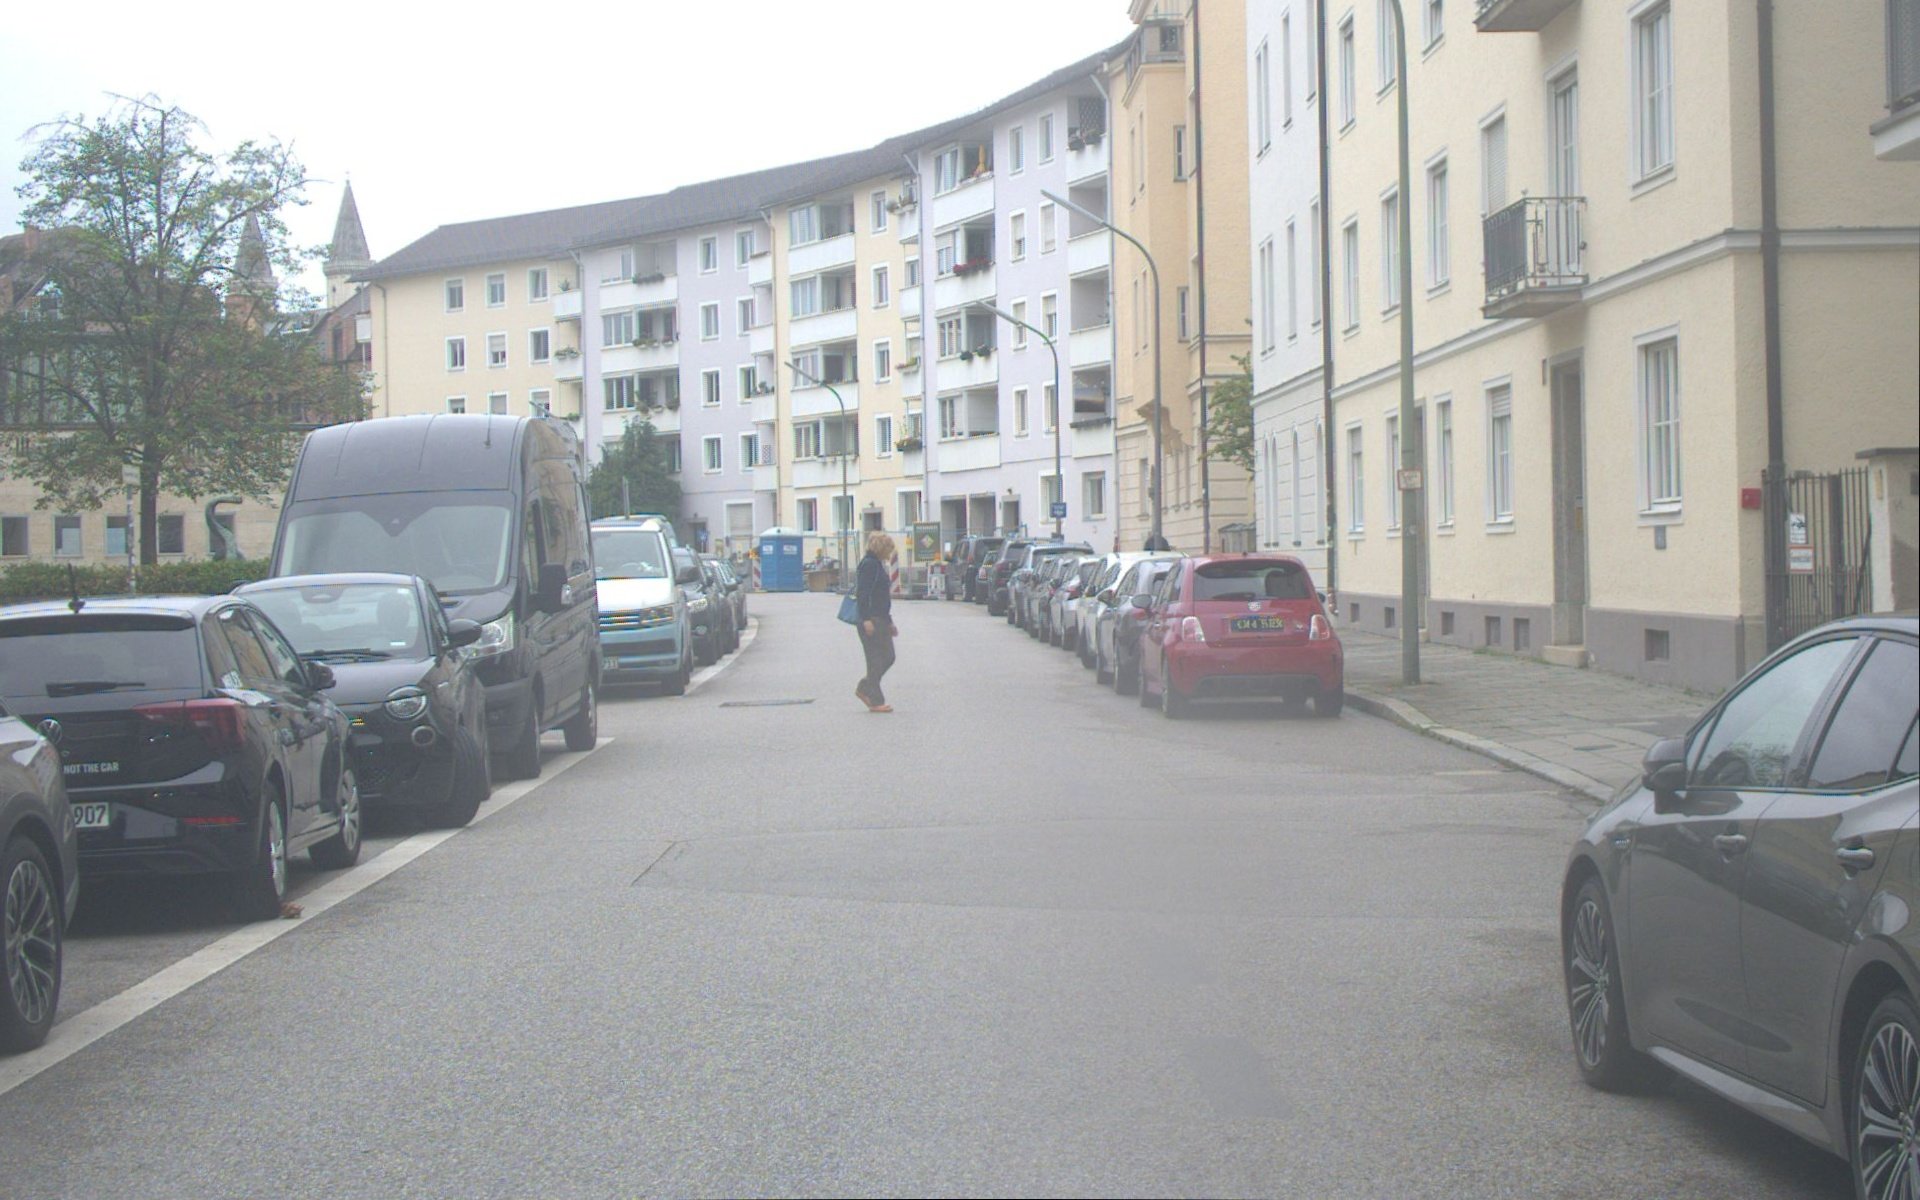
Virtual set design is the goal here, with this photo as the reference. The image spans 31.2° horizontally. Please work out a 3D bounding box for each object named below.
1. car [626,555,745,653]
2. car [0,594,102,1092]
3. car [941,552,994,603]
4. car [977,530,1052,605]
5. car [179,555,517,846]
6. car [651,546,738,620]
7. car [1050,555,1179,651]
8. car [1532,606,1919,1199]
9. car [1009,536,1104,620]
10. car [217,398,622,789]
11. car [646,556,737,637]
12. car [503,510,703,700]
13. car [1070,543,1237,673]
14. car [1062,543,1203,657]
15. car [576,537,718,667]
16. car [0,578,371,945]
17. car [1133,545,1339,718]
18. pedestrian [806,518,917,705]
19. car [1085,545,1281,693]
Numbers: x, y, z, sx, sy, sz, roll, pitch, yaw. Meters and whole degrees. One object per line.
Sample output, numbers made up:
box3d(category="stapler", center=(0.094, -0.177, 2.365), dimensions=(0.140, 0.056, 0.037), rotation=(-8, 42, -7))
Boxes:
box3d(category="car", center=(-4.341, 0.040, 54.733), dimensions=(1.623, 1.407, 3.799), rotation=(-3, 1, -2))
box3d(category="car", center=(-3.931, 0.816, 9.507), dimensions=(1.766, 1.533, 4.541), rotation=(-3, 1, 2))
box3d(category="car", center=(0.191, -0.604, 89.620), dimensions=(1.272, 1.294, 2.798), rotation=(0, 1, -2))
box3d(category="car", center=(1.214, -0.763, 77.675), dimensions=(1.474, 1.635, 4.001), rotation=(0, 1, -2))
box3d(category="car", center=(-3.616, 0.530, 20.819), dimensions=(1.585, 1.533, 3.544), rotation=(-1, 1, -3))
box3d(category="car", center=(-5.427, -0.367, 70.570), dimensions=(1.623, 1.414, 3.982), rotation=(-2, 1, -3))
box3d(category="car", center=(2.363, 0.031, 53.402), dimensions=(1.692, 1.427, 3.945), rotation=(0, 0, -2))
box3d(category="car", center=(2.737, 0.734, 8.455), dimensions=(1.763, 1.403, 4.079), rotation=(-1, 0, -3))
box3d(category="car", center=(1.882, -0.456, 67.813), dimensions=(1.590, 1.577, 4.299), rotation=(0, 1, -2))
box3d(category="car", center=(-3.937, -0.110, 26.046), dimensions=(2.088, 2.627, 5.377), rotation=(-1, 1, 1))
box3d(category="car", center=(-5.067, -0.086, 65.111), dimensions=(1.623, 1.414, 3.982), rotation=(-2, 1, -4))
box3d(category="car", center=(-3.975, 0.003, 38.958), dimensions=(1.882, 1.925, 4.601), rotation=(-3, 1, -2))
box3d(category="car", center=(2.384, 0.061, 43.297), dimensions=(1.692, 1.486, 4.283), rotation=(-1, 1, -2))
box3d(category="car", center=(2.377, -0.031, 48.229), dimensions=(1.599, 1.486, 3.799), rotation=(-1, 1, -3))
box3d(category="car", center=(-4.457, -0.007, 49.442), dimensions=(1.701, 1.685, 4.028), rotation=(-3, 1, -2))
box3d(category="car", center=(-3.865, 0.658, 16.174), dimensions=(1.700, 1.441, 3.825), rotation=(0, 2, -3))
box3d(category="car", center=(2.552, 0.249, 32.511), dimensions=(1.595, 1.503, 3.801), rotation=(-1, 1, 0))
box3d(category="pedestrian", center=(-0.924, 0.113, 32.217), dimensions=(0.672, 1.722, 0.794), rotation=(-1, -1, 43))
box3d(category="car", center=(2.382, 0.184, 37.648), dimensions=(1.692, 1.486, 4.343), rotation=(-1, 0, -2))
